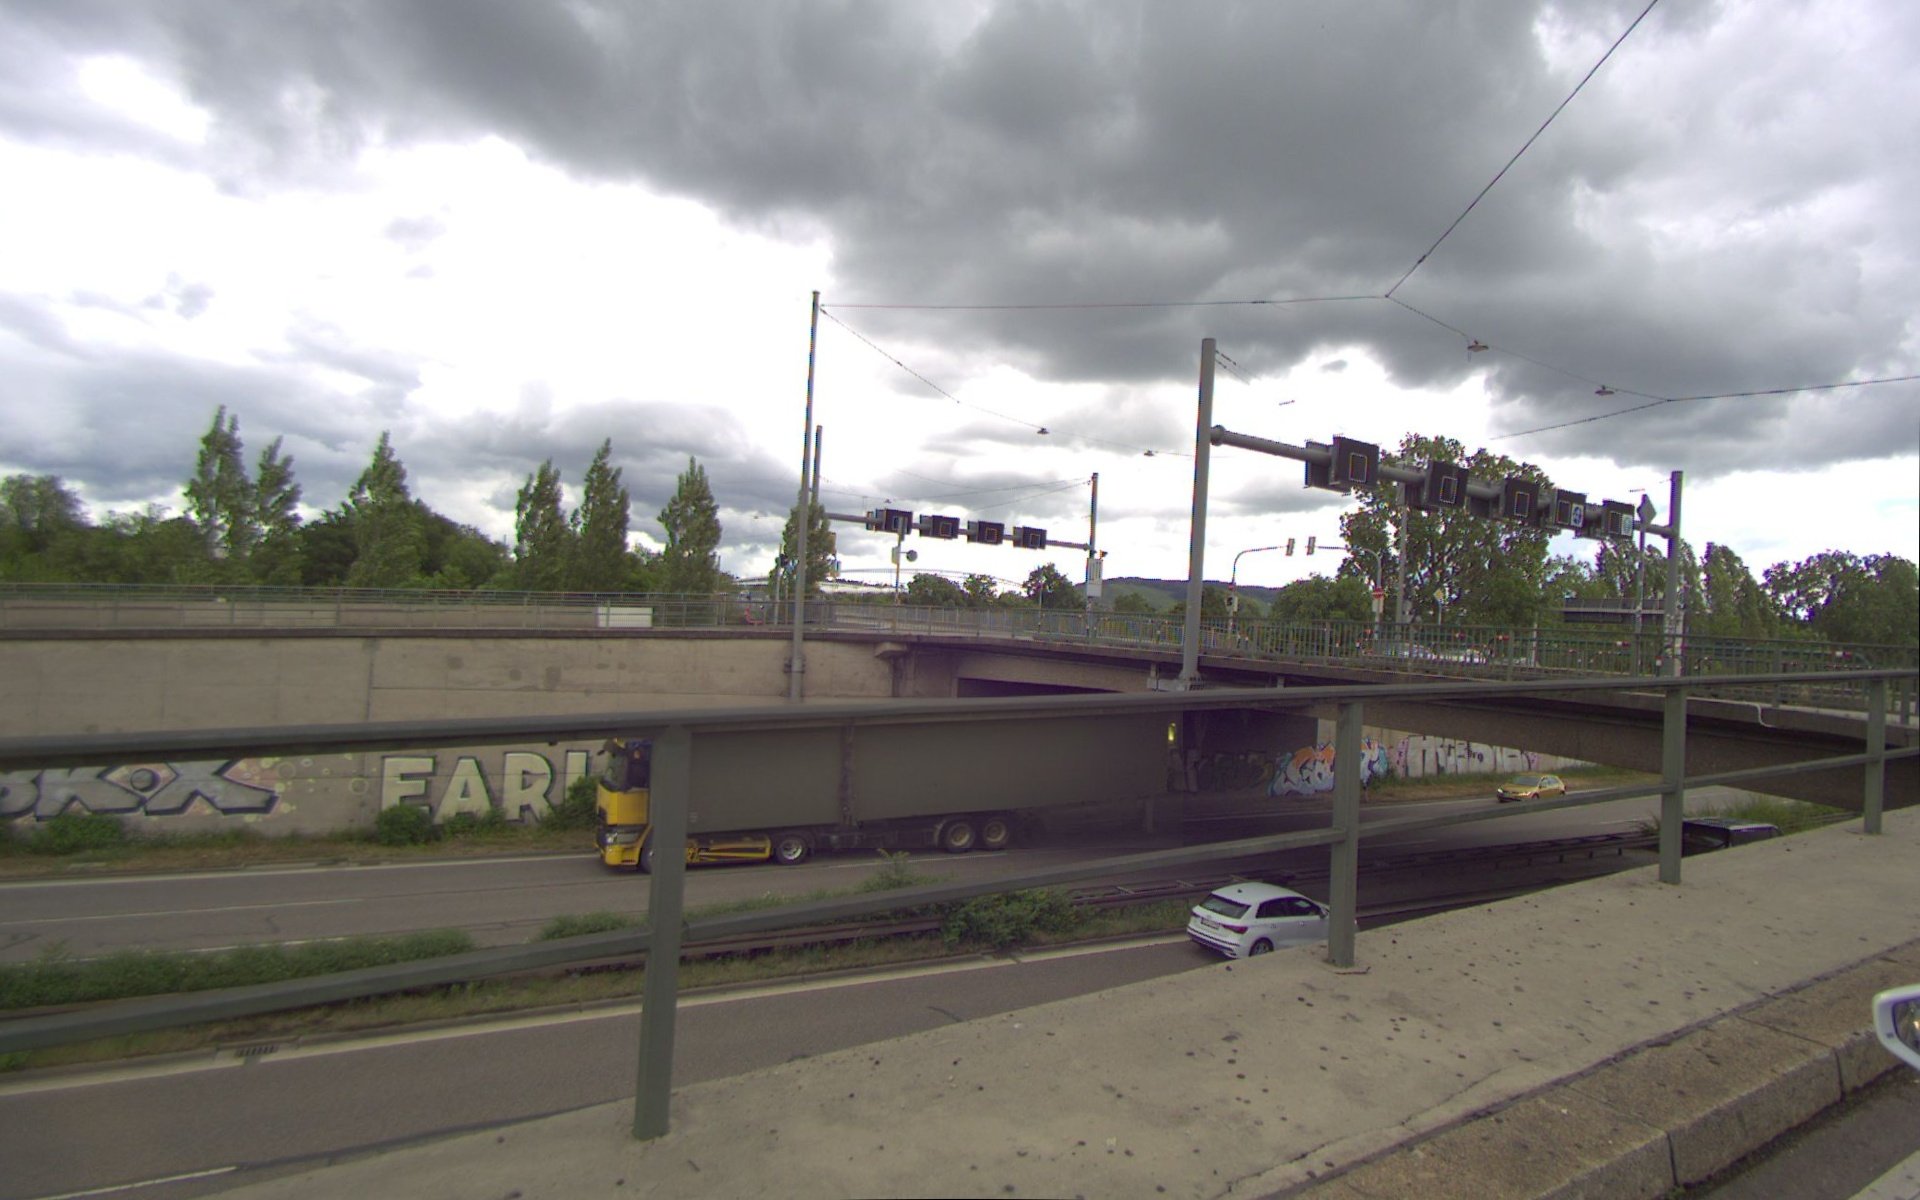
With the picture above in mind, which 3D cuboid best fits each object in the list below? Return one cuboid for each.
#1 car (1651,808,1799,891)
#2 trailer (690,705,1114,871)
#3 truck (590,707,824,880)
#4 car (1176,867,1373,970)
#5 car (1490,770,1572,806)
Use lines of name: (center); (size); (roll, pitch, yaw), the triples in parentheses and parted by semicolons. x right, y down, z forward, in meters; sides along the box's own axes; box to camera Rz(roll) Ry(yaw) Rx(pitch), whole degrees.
car: (25.293, 8.147, 33.170); (5.191, 2.040, 1.985); (4, -2, -29)
trailer: (-1.426, 5.779, 32.365); (13.521, 4.317, 3.226); (5, -3, -30)
truck: (-7.278, 5.355, 28.963); (5.737, 4.236, 3.226); (4, -3, -30)
car: (7.013, 6.965, 22.266); (4.363, 1.440, 1.611); (4, -3, -29)
car: (29.225, 9.579, 51.395); (4.106, 1.476, 1.859); (4, -3, -30)
